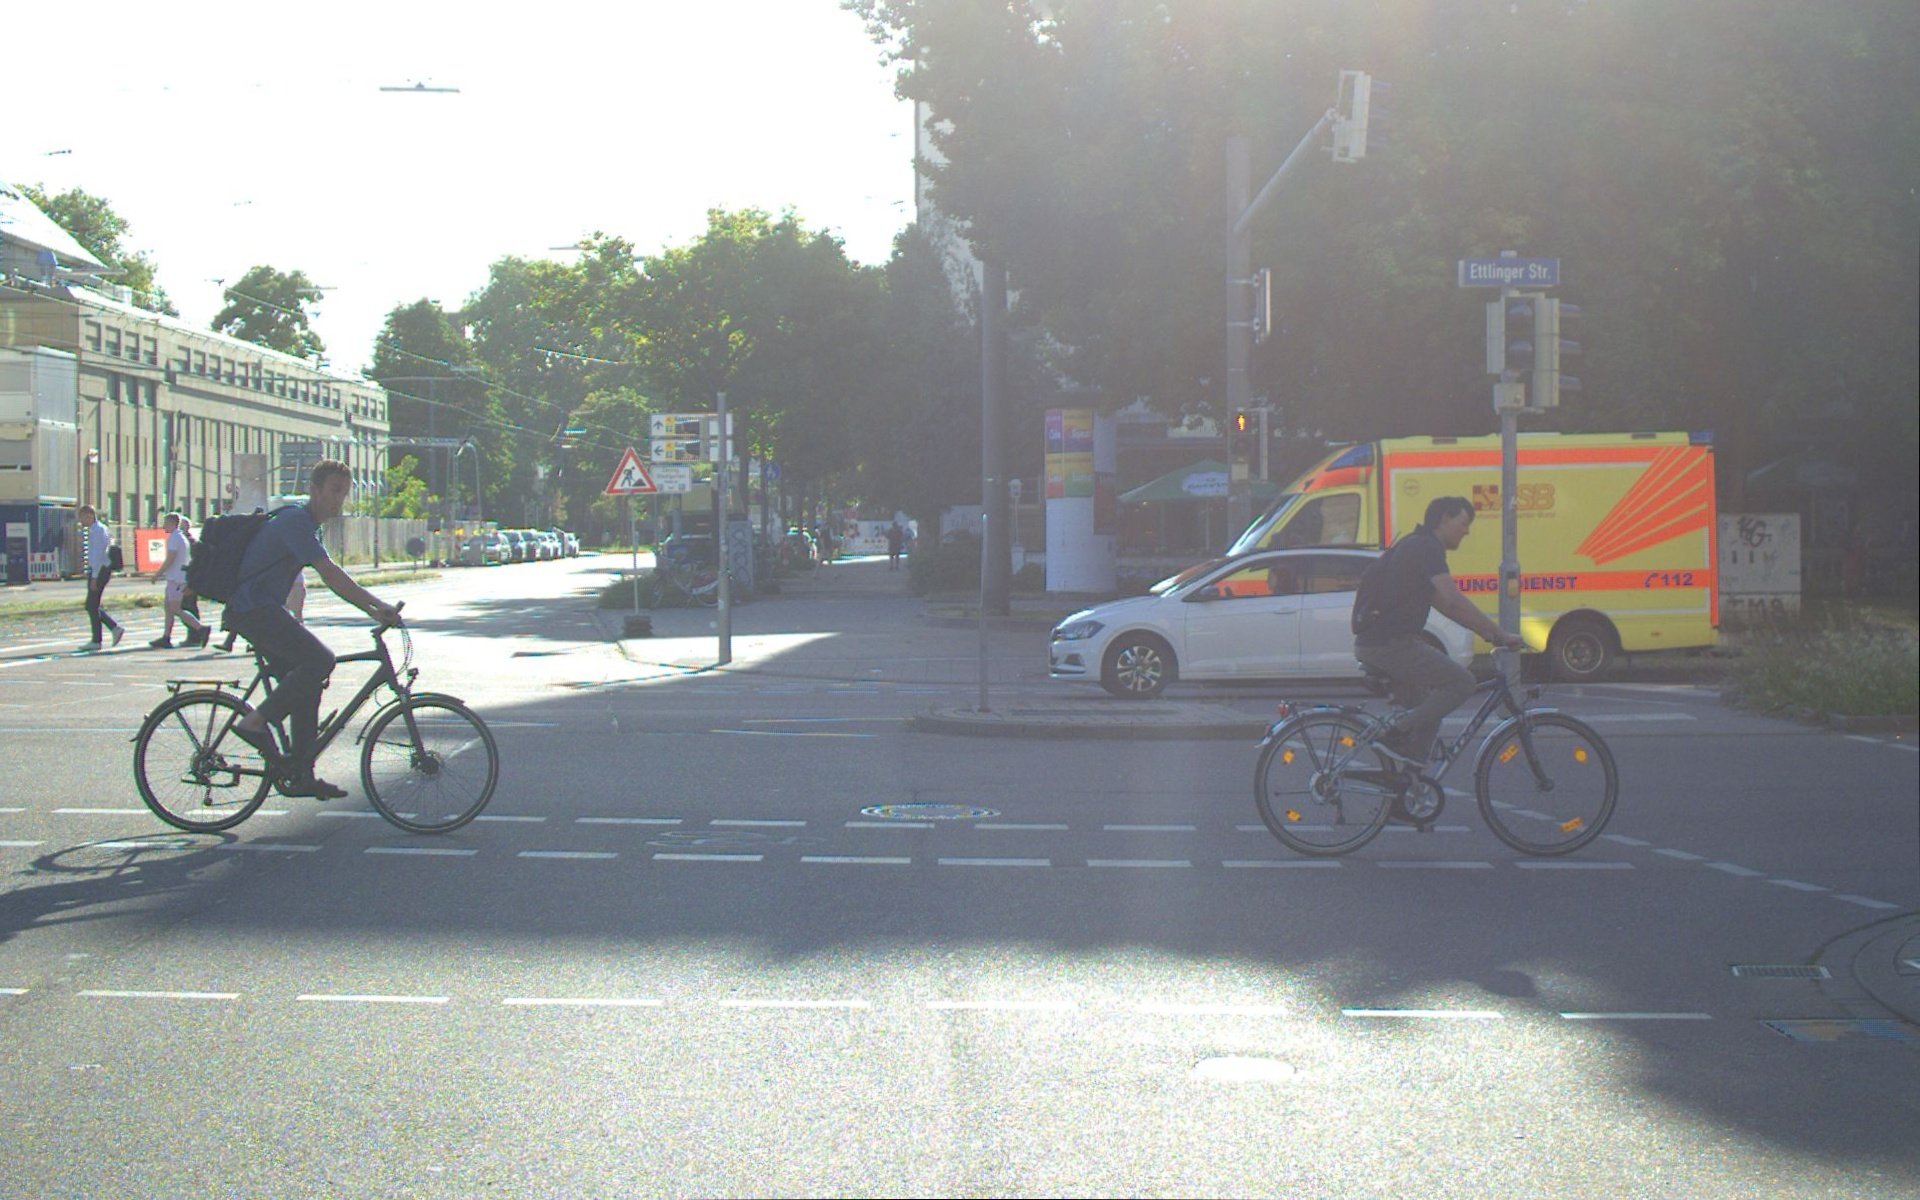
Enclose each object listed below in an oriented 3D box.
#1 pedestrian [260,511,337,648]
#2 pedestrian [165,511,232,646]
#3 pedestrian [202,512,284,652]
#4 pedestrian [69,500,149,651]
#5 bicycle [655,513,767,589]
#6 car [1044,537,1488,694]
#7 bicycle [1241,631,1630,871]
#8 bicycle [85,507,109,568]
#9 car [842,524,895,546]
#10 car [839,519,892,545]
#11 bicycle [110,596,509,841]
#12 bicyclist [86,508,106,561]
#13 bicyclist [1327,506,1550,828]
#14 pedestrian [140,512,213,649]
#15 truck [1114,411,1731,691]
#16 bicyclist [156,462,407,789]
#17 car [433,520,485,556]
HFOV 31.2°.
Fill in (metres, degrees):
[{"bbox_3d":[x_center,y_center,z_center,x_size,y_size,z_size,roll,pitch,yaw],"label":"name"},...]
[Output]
[{"bbox_3d":[-8.755,-0.274,45.513,0.870,1.797,0.532,0,1,5],"label":"pedestrian"},{"bbox_3d":[-10.233,-0.289,46.214,0.739,1.797,0.532,0,1,5],"label":"pedestrian"},{"bbox_3d":[-9.300,-0.234,44.613,0.870,1.797,0.664,0,1,5],"label":"pedestrian"},{"bbox_3d":[-10.864,-0.316,43.907,0.802,1.911,0.637,0,1,5],"label":"pedestrian"},{"bbox_3d":[-5.887,-1.160,81.458,2.547,1.737,1.037,1,0,0],"label":"bicycle"},{"bbox_3d":[2.880,0.130,32.920,4.042,1.429,1.632,-1,1,-2],"label":"car"},{"bbox_3d":[2.293,0.722,16.776,1.813,1.081,0.766,1,3,3],"label":"bicycle"},{"bbox_3d":[-32.704,-2.369,130.300,0.571,2.288,1.422,0,1,-2],"label":"bicycle"},{"bbox_3d":[-5.647,-4.001,211.178,3.217,1.259,1.373,1,0,-3],"label":"car"},{"bbox_3d":[-5.879,-4.219,213.430,3.214,1.583,1.446,1,0,-4],"label":"car"},{"bbox_3d":[-3.242,0.584,17.257,1.873,1.154,0.766,1,1,-3],"label":"bicycle"},{"bbox_3d":[-32.705,-2.481,130.151,0.571,2.017,0.762,0,1,-2],"label":"bicyclist"},{"bbox_3d":[2.317,0.308,16.756,1.002,1.507,0.766,1,3,3],"label":"bicyclist"},{"bbox_3d":[-10.343,-0.258,45.417,0.739,1.797,0.716,0,1,5],"label":"pedestrian"},{"bbox_3d":[5.049,-0.555,38.368,6.467,3.005,2.726,0,1,-1],"label":"truck"},{"bbox_3d":[-3.390,0.118,17.257,1.124,1.589,0.766,1,1,-3],"label":"bicyclist"},{"bbox_3d":[-22.772,-2.829,156.346,1.894,1.601,4.501,-1,1,-2],"label":"car"}]
